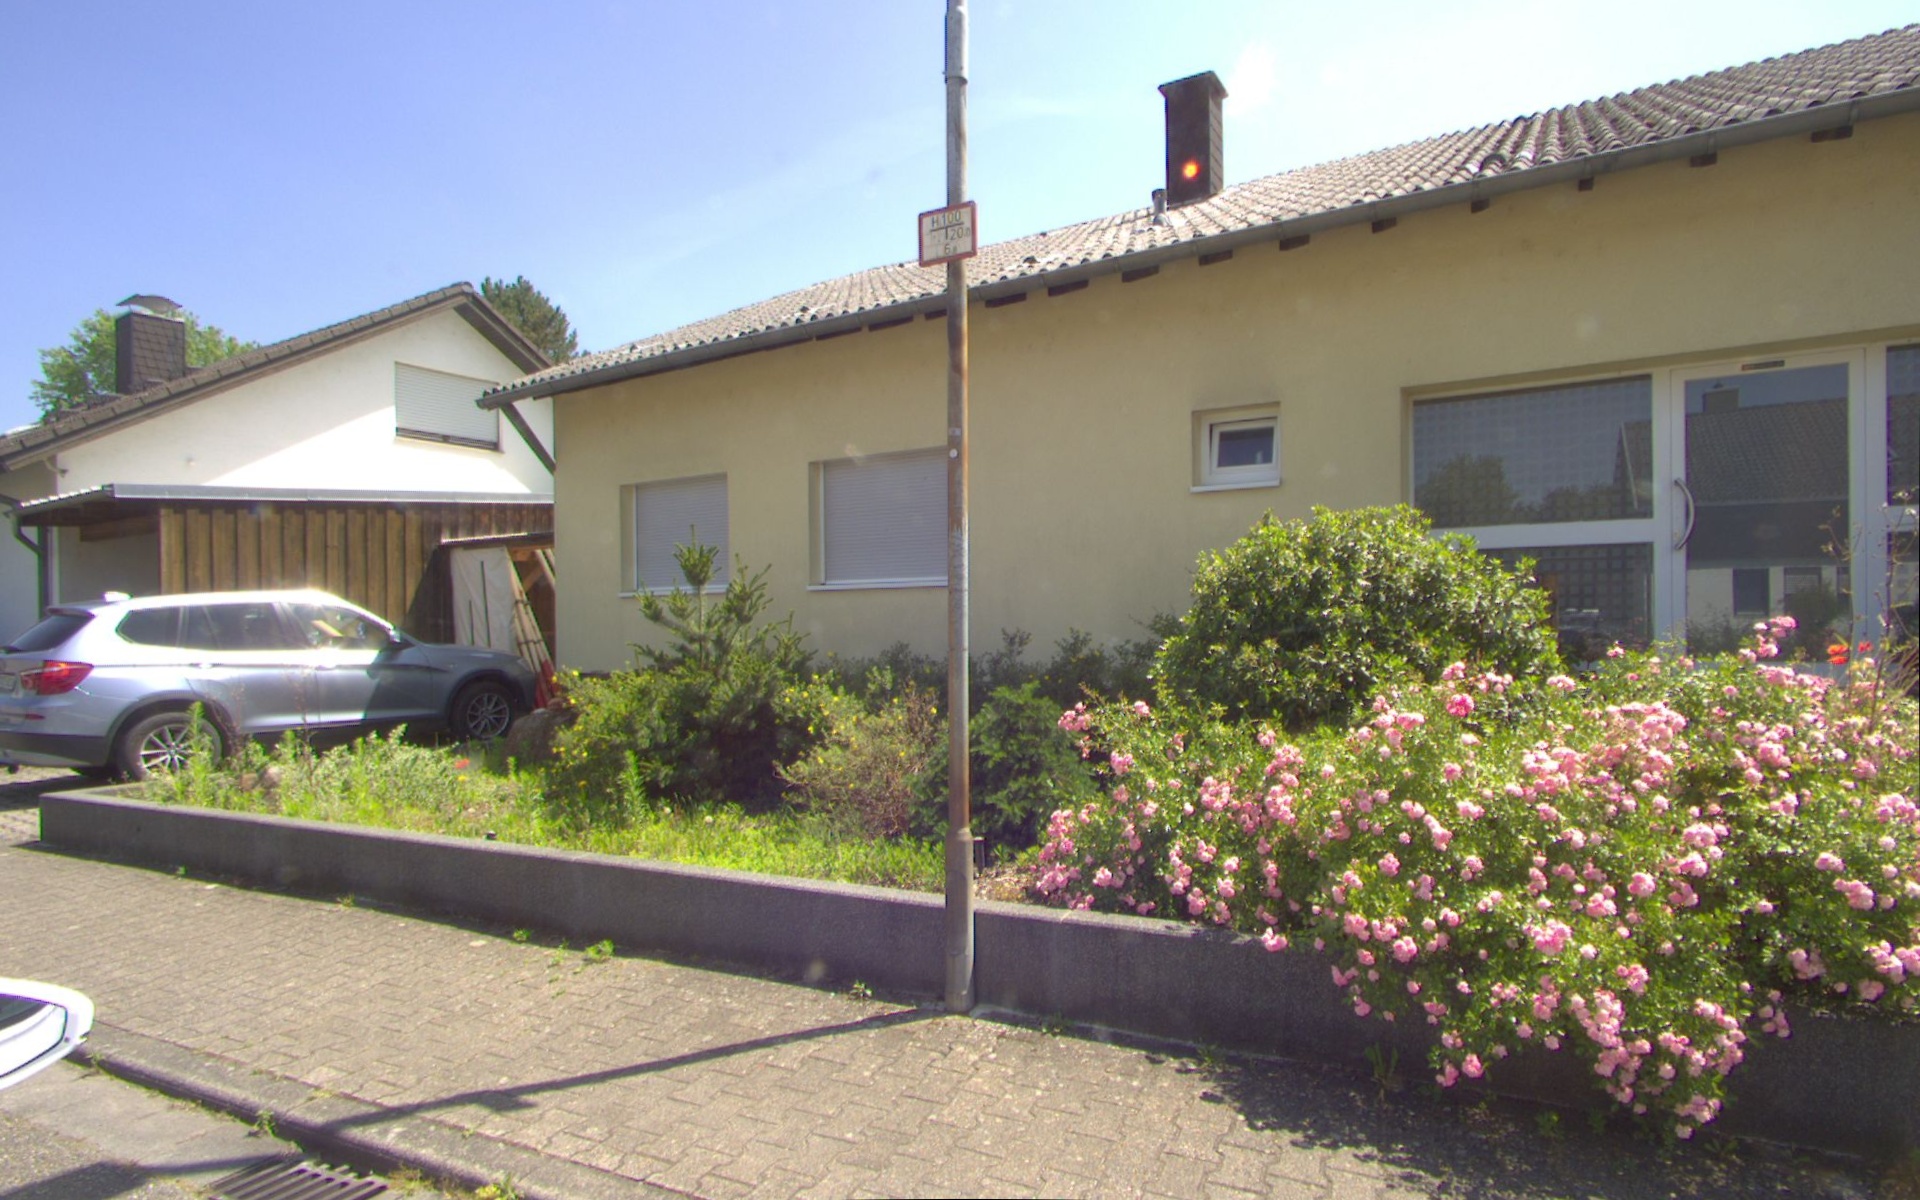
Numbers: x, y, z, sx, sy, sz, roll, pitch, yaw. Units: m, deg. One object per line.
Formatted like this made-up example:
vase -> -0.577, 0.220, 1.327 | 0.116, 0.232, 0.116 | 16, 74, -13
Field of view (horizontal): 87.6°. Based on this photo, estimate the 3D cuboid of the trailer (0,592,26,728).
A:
trailer -> -13.621, 0.760, 12.856 | 3.249, 1.695, 1.583 | 0, 1, 32

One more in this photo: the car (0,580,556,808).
car -> -6.606, 0.690, 9.962 | 1.686, 1.725, 4.613 | -1, 1, 34
